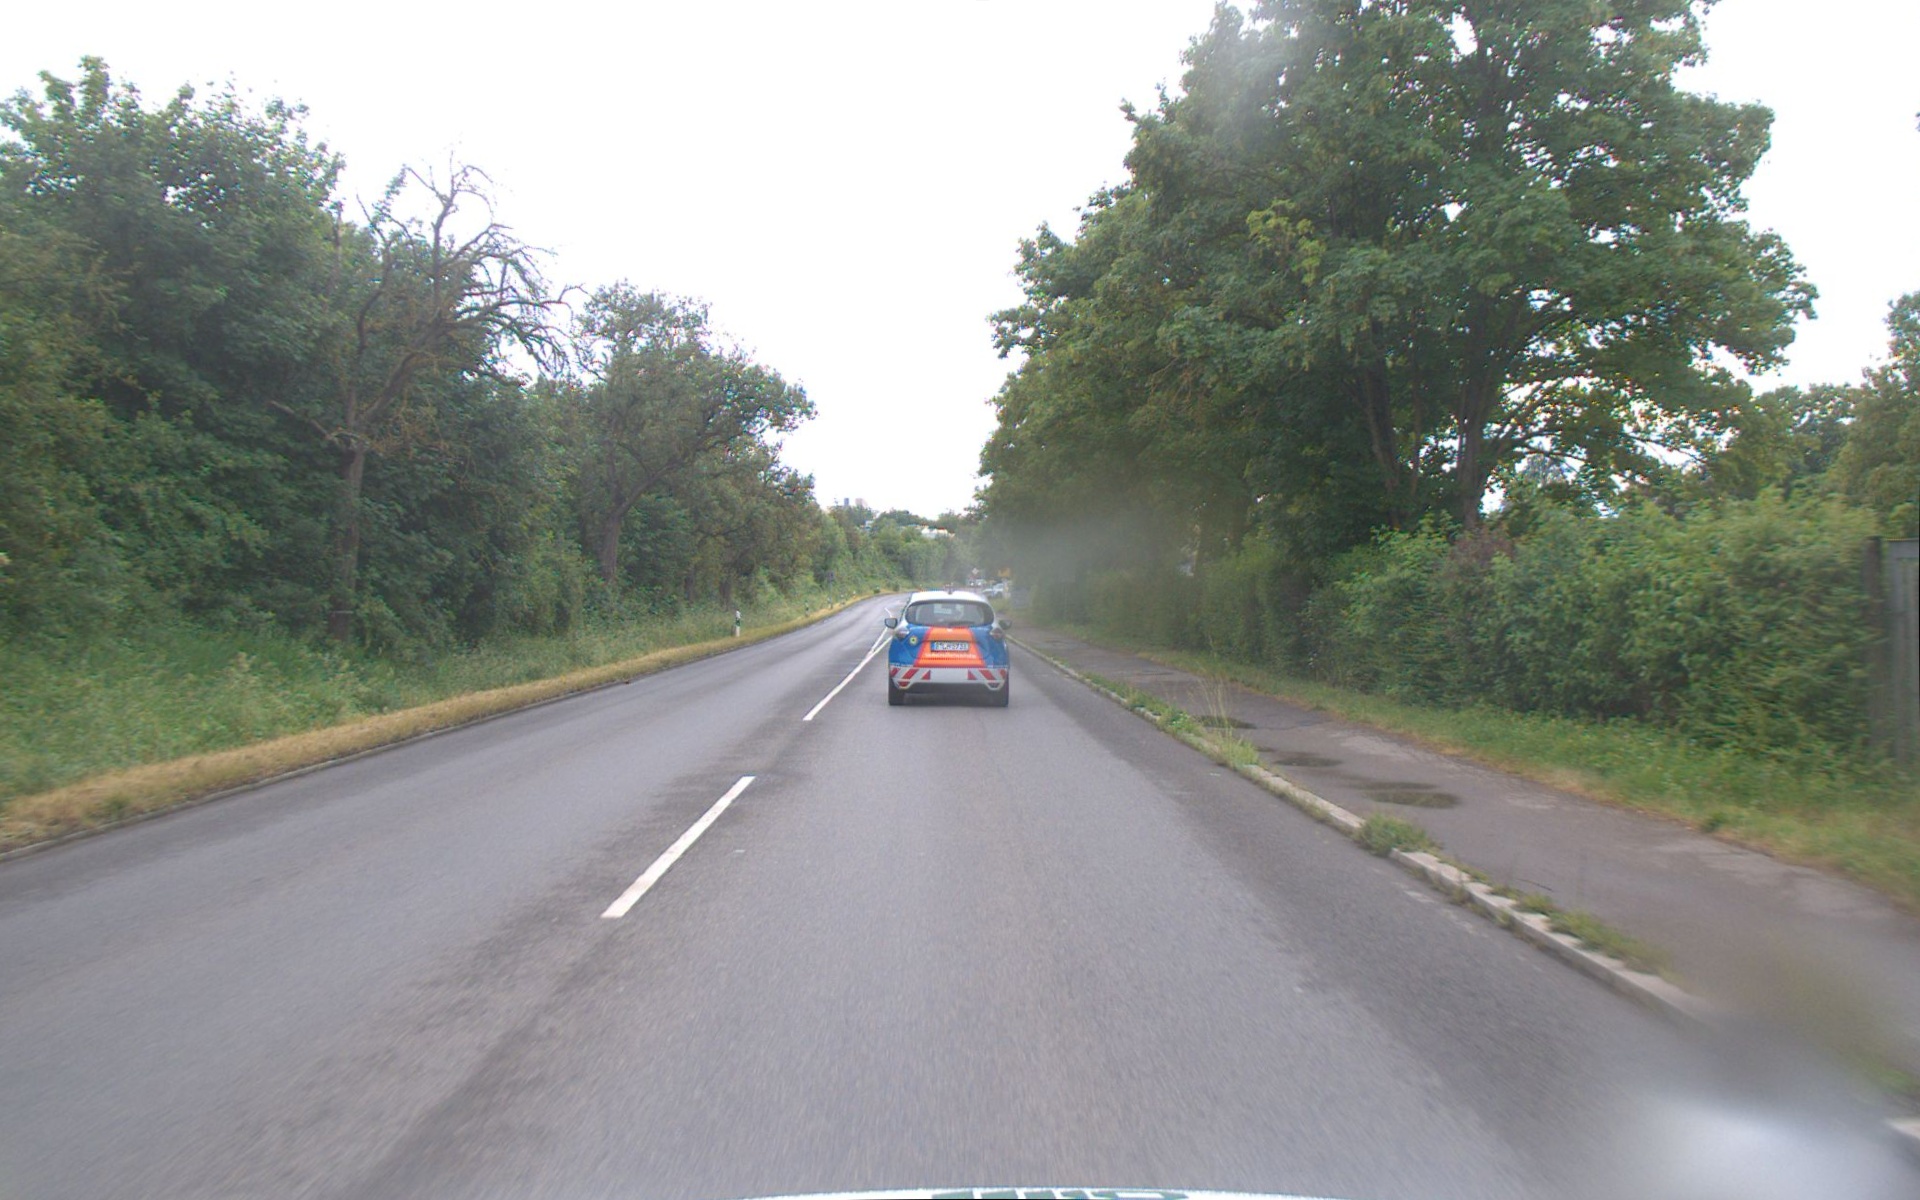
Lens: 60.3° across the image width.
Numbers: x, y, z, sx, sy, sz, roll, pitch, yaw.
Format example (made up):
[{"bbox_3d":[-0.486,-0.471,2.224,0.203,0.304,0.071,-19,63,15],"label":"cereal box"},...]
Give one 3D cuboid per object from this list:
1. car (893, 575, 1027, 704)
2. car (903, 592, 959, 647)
[{"bbox_3d":[-0.041,0.532,24.155,1.769,1.697,3.855,1,0,-1],"label":"car"},{"bbox_3d":[-0.943,0.591,52.467,1.660,1.623,3.854,1,0,-2],"label":"car"}]
